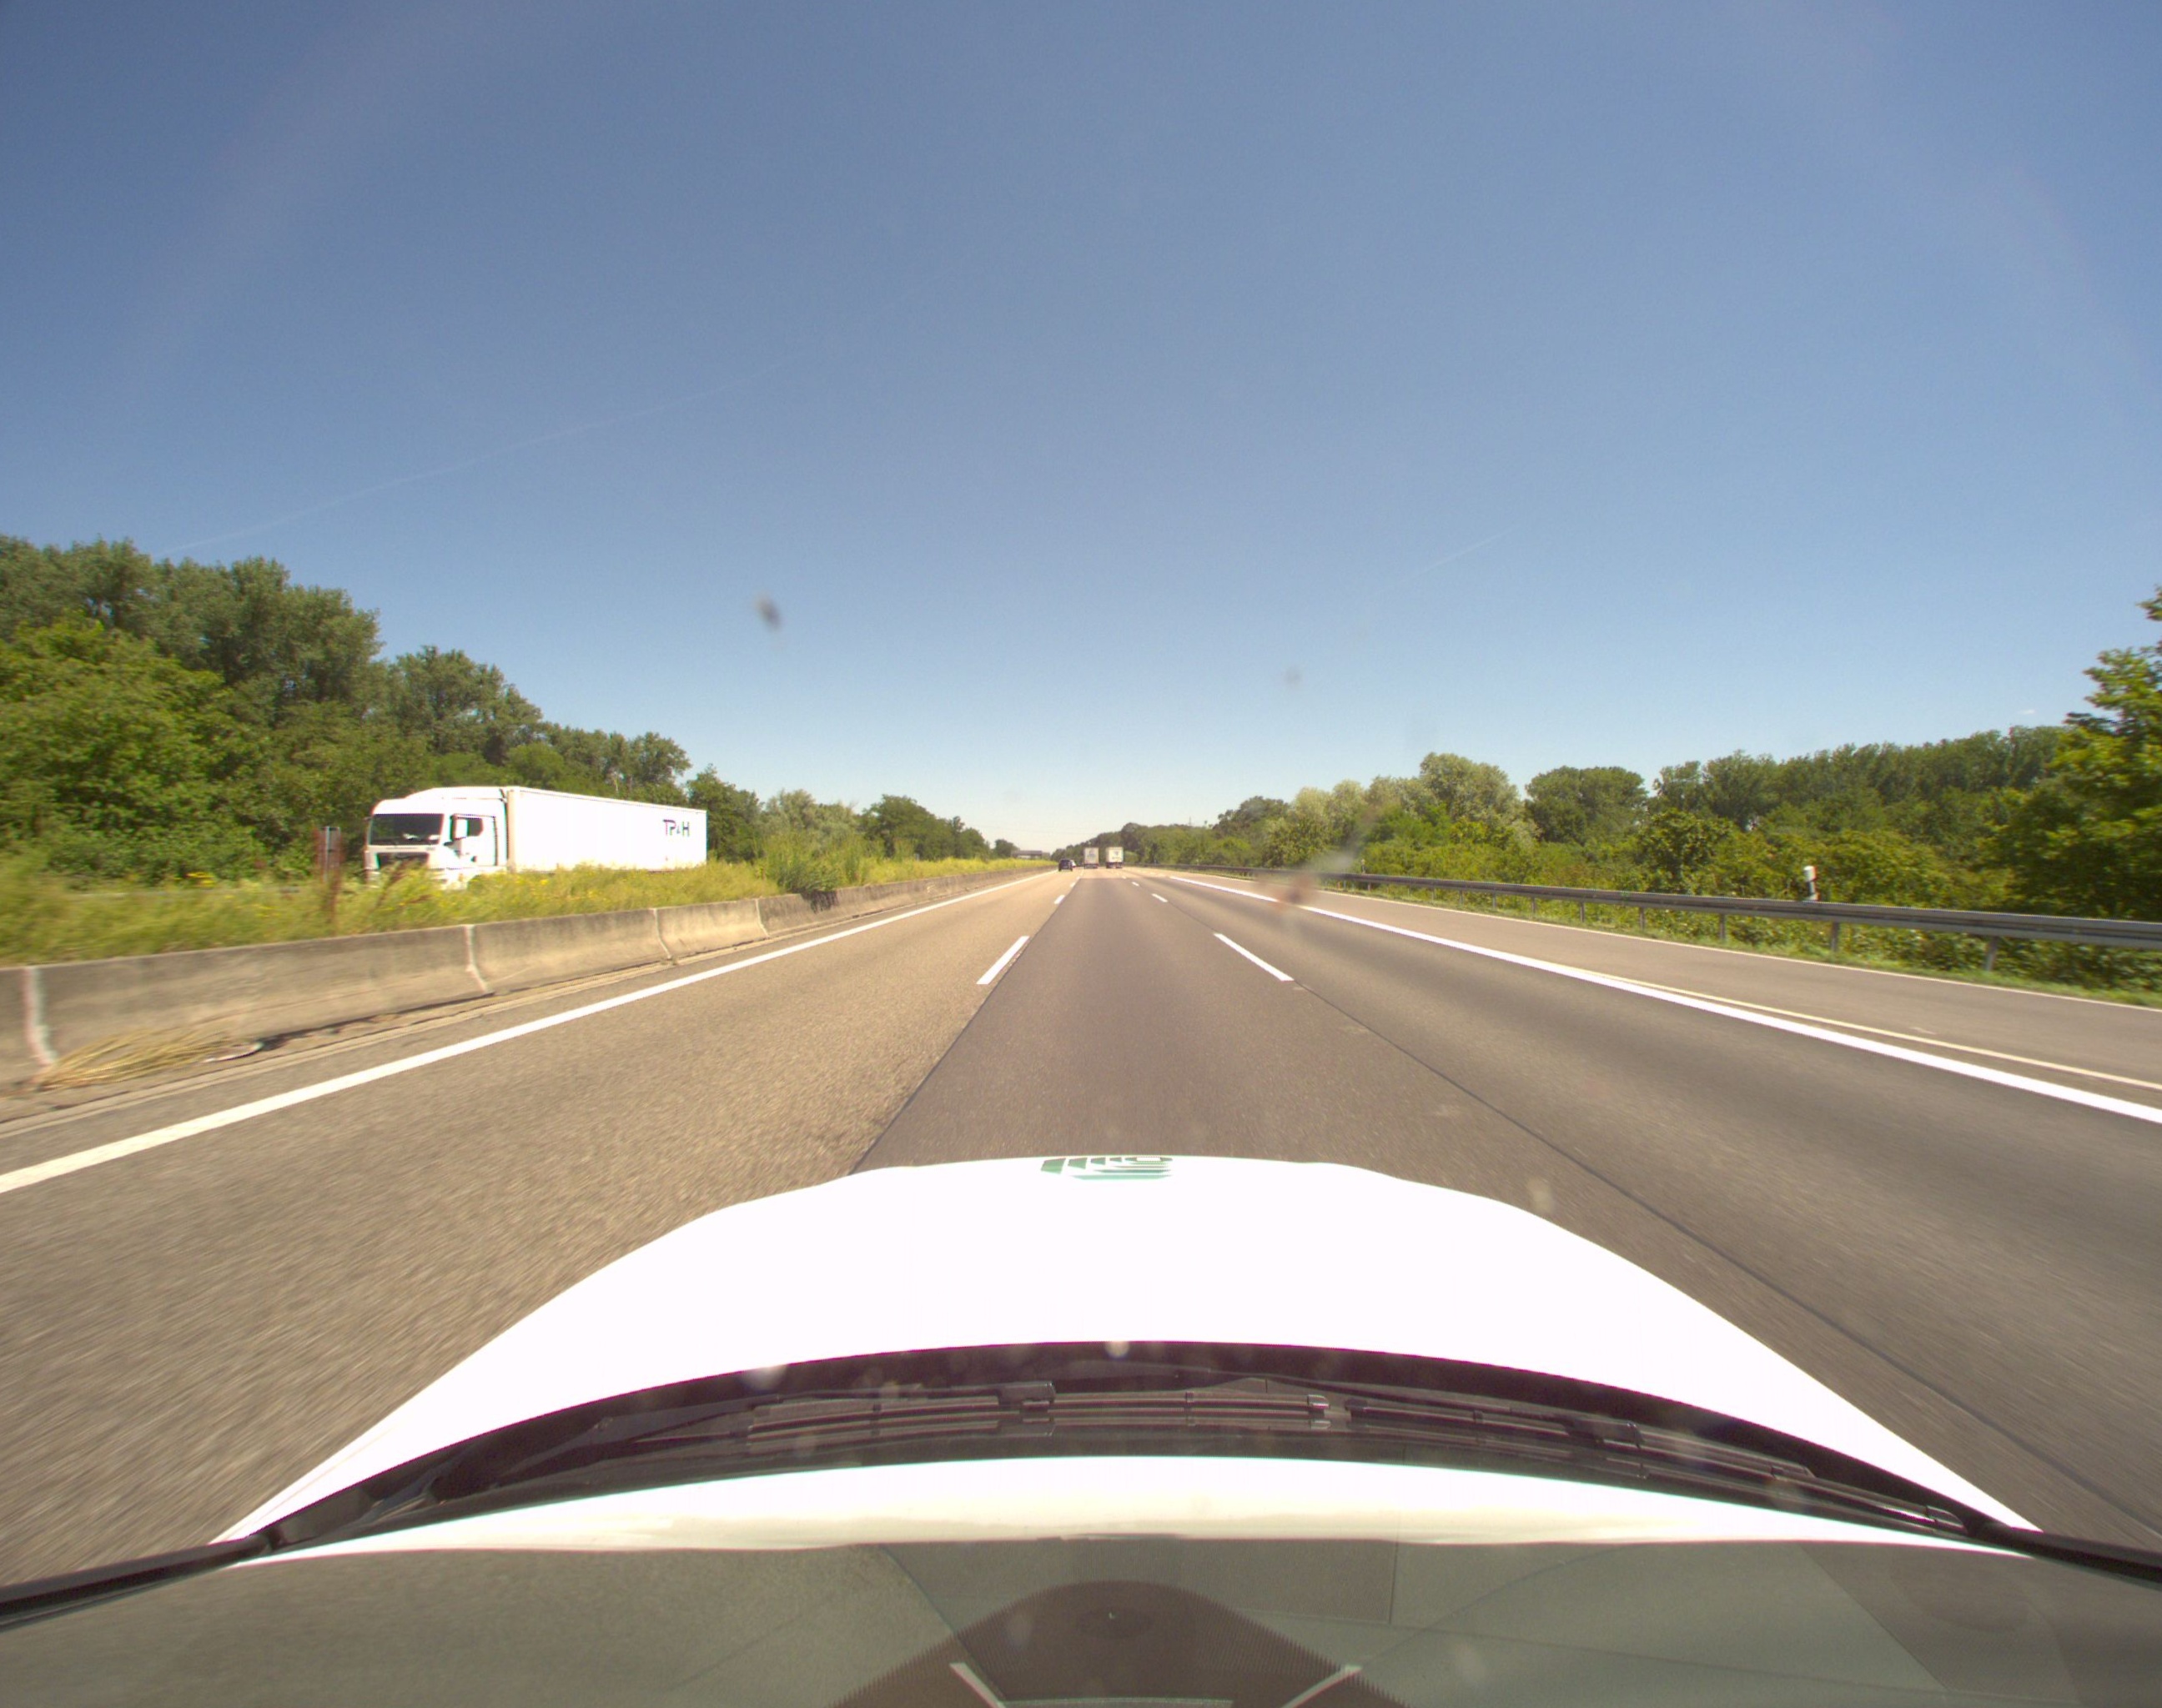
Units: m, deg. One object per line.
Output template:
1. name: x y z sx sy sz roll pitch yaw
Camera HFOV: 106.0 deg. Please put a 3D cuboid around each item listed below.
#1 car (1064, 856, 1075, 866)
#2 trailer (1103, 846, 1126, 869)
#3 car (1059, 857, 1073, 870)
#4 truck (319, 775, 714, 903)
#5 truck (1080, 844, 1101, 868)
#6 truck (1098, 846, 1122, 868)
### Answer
1. car: -2.388 1.462 168.098 1.990 1.874 3.994 0 0 -4
2. trailer: 6.202 0.588 151.209 3.360 4.142 9.079 0 0 -4
3. car: -2.103 1.350 115.508 1.987 1.874 4.000 0 0 0
4. truck: -20.531 -0.441 32.694 3.586 3.735 17.484 0 0 0
5. truck: 1.640 0.354 148.706 3.222 4.202 8.456 0 0 -3
6. truck: 5.630 0.595 159.121 3.320 4.053 10.935 0 0 -5
